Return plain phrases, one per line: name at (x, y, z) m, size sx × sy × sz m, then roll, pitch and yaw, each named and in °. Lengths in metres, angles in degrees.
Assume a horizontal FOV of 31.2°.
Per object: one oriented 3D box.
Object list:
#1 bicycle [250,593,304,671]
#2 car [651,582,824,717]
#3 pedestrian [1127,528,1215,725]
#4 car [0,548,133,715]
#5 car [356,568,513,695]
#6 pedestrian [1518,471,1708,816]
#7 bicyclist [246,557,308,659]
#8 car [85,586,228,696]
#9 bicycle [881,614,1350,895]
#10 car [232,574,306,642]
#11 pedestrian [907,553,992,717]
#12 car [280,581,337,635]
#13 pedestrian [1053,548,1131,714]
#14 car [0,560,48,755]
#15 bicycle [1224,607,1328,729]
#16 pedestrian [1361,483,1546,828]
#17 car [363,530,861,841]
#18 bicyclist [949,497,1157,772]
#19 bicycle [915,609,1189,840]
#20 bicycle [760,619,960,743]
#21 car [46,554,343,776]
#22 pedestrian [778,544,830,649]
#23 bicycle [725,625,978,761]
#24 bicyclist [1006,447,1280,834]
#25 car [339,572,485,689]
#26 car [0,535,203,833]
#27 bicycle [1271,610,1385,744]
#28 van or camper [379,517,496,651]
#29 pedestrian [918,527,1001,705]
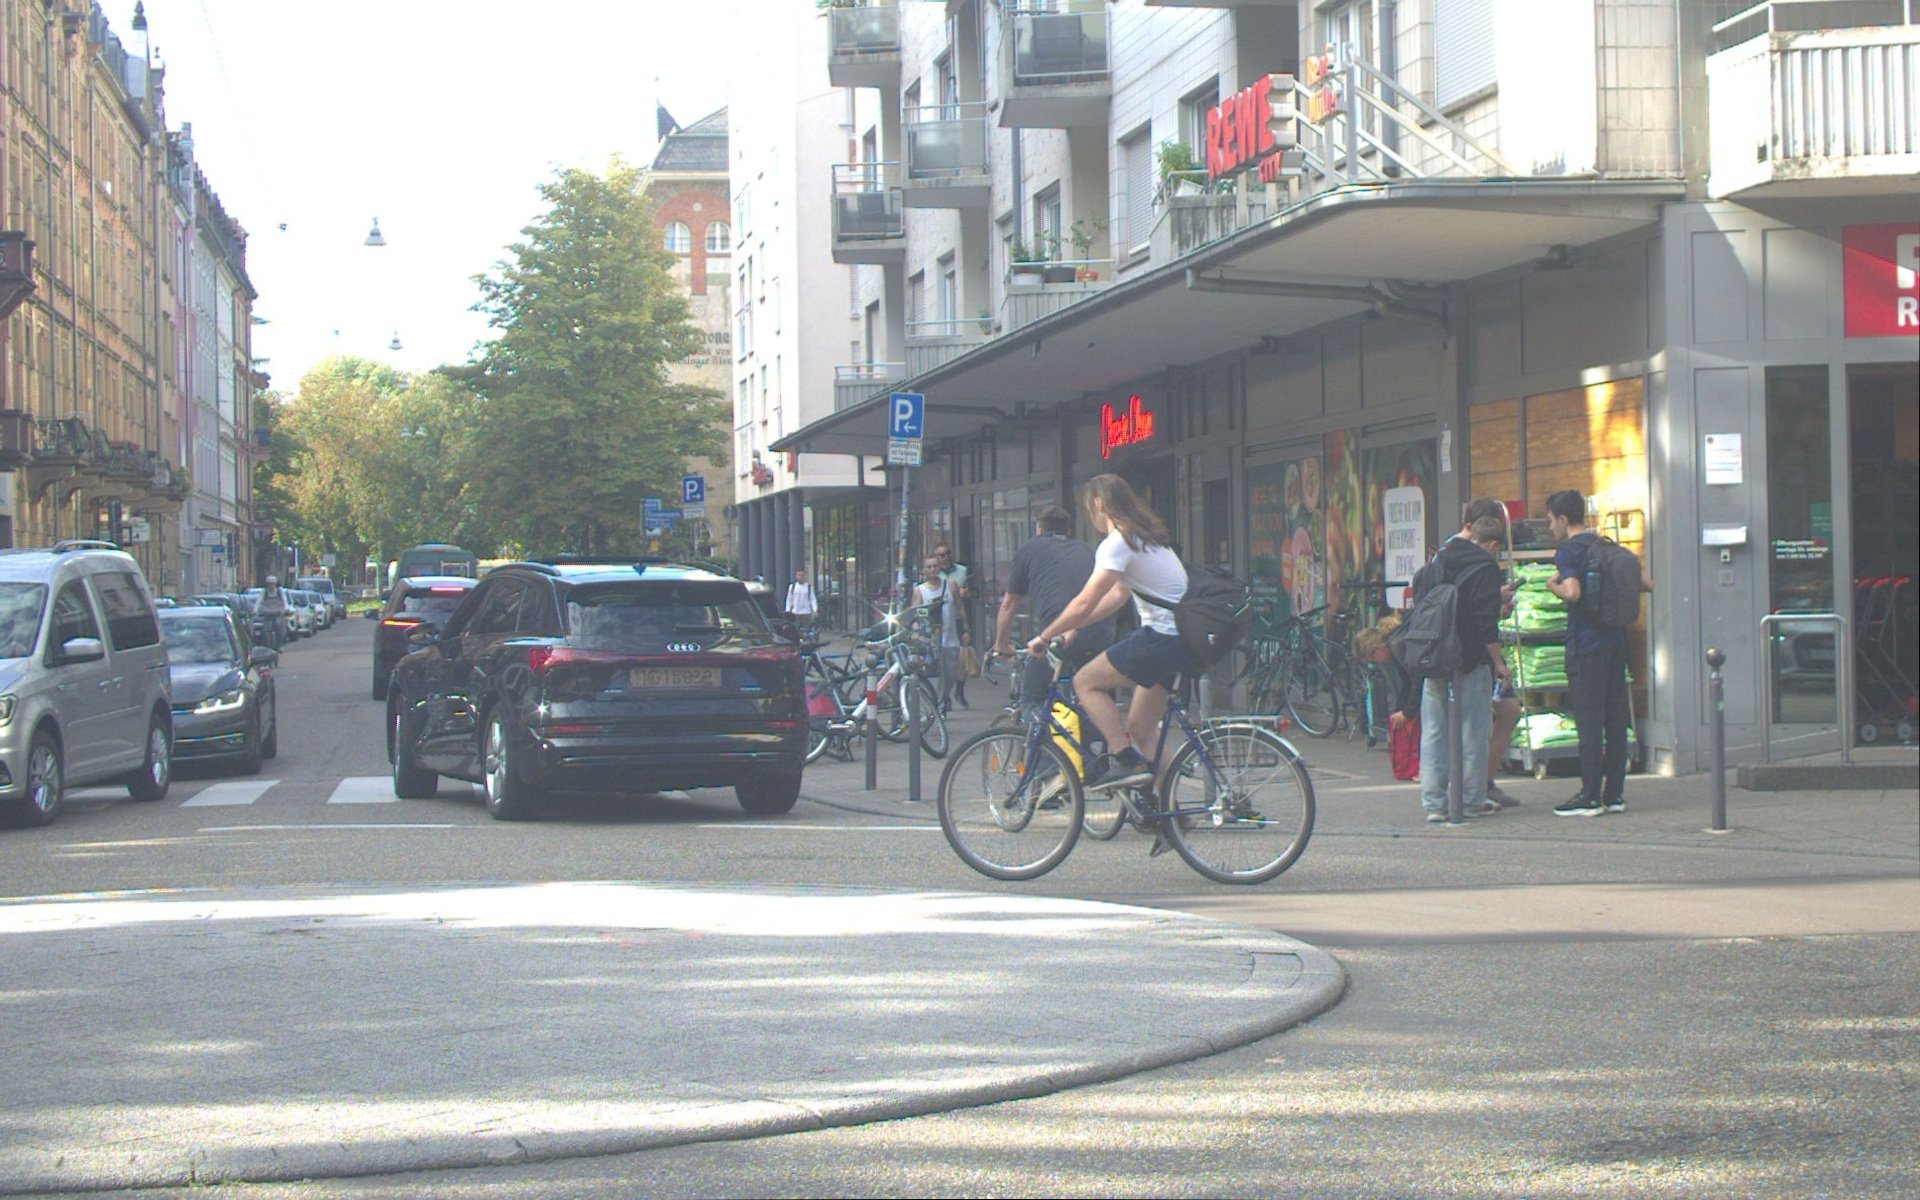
bicycle at (-13.509, 0.616, 67.962) m, size 0.925 × 1.484 × 3.465 m, roll 1°, pitch 0°, yaw -13°
car at (-2.522, 0.514, 38.299) m, size 1.645 × 1.320 × 3.577 m, roll -3°, pitch 1°, yaw -7°
pedestrian at (1.859, 0.228, 30.418) m, size 0.740 × 1.707 × 0.733 m, roll -1°, pitch 0°, yaw 3°
car at (-11.700, 0.376, 43.851) m, size 1.993 × 2.007 × 4.001 m, roll -1°, pitch 1°, yaw -11°
car at (-7.140, 0.391, 46.701) m, size 1.993 × 1.612 × 4.001 m, roll -1°, pitch 1°, yaw -9°
pedestrian at (3.578, 0.232, 18.876) m, size 0.869 × 1.845 × 0.612 m, roll -1°, pitch 0°, yaw -3°
bicyclist at (-13.519, 0.160, 68.003) m, size 1.132 × 1.991 × 1.028 m, roll 1°, pitch 0°, yaw -13°
car at (-14.568, 0.715, 62.531) m, size 1.927 × 1.718 × 4.288 m, roll -2°, pitch 2°, yaw -6°
bicycle at (0.702, 0.680, 15.398) m, size 1.970 × 1.195 × 0.711 m, roll -1°, pitch 0°, yaw 16°
car at (-21.000, 0.230, 104.554) m, size 1.993 × 2.007 × 4.001 m, roll -1°, pitch 1°, yaw -9°
pedestrian at (-0.098, 0.341, 34.309) m, size 0.730 × 1.605 × 0.790 m, roll -1°, pitch 0°, yaw 7°
car at (-24.931, 0.278, 131.658) m, size 1.993 × 2.007 × 4.001 m, roll -1°, pitch 1°, yaw -9°
pedestrian at (1.321, 0.302, 34.363) m, size 0.745 × 1.623 × 0.812 m, roll -1°, pitch 0°, yaw 3°
car at (-9.690, 0.533, 31.700) m, size 1.782 × 1.718 × 4.446 m, roll 1°, pitch 2°, yaw -6°
bicycle at (2.704, 0.566, 29.535) m, size 0.360 × 0.995 × 1.716 m, roll -1°, pitch 1°, yaw -13°
pedestrian at (2.701, 0.297, 18.853) m, size 0.869 × 1.845 × 0.612 m, roll -1°, pitch 0°, yaw -3°
car at (-2.422, 0.445, 22.590) m, size 2.035 × 1.718 × 4.847 m, roll -3°, pitch 2°, yaw -20°
bicyclist at (0.507, 0.188, 18.976) m, size 0.933 × 1.479 × 0.747 m, roll 0°, pitch 0°, yaw -19°
bicycle at (0.469, 0.648, 19.055) m, size 0.665 × 1.174 × 2.498 m, roll 0°, pitch 0°, yaw -19°
bicycle at (-0.875, 0.708, 30.526) m, size 0.680 × 1.023 × 1.786 m, roll -1°, pitch 1°, yaw 44°
car at (-6.627, 0.504, 30.230) m, size 1.927 × 1.719 × 4.736 m, roll -2°, pitch 1°, yaw -6°
pedestrian at (-3.028, -0.063, 66.707) m, size 0.900 × 2.007 × 0.735 m, roll -1°, pitch 0°, yaw -8°
bicycle at (-0.891, 0.749, 27.943) m, size 2.000 × 1.042 × 0.532 m, roll -1°, pitch 0°, yaw -6°
bicyclist at (0.830, 0.175, 15.363) m, size 1.013 × 1.663 × 0.943 m, roll -1°, pitch 0°, yaw 16°
car at (-8.011, 0.413, 50.543) m, size 1.809 × 1.482 × 4.163 m, roll -2°, pitch 2°, yaw -6°
car at (-6.550, 0.510, 23.053) m, size 1.793 × 1.784 × 4.736 m, roll -2°, pitch 1°, yaw 1°
bicycle at (2.898, 0.595, 27.180) m, size 0.362 × 1.013 × 1.431 m, roll -1°, pitch 0°, yaw -16°
van or camper at (-12.398, -0.387, 81.407) m, size 2.530 × 3.027 × 4.460 m, roll -1°, pitch 1°, yaw -11°
pedestrian at (0.004, 0.166, 36.714) m, size 0.730 × 1.858 × 1.062 m, roll -1°, pitch 0°, yaw 7°
